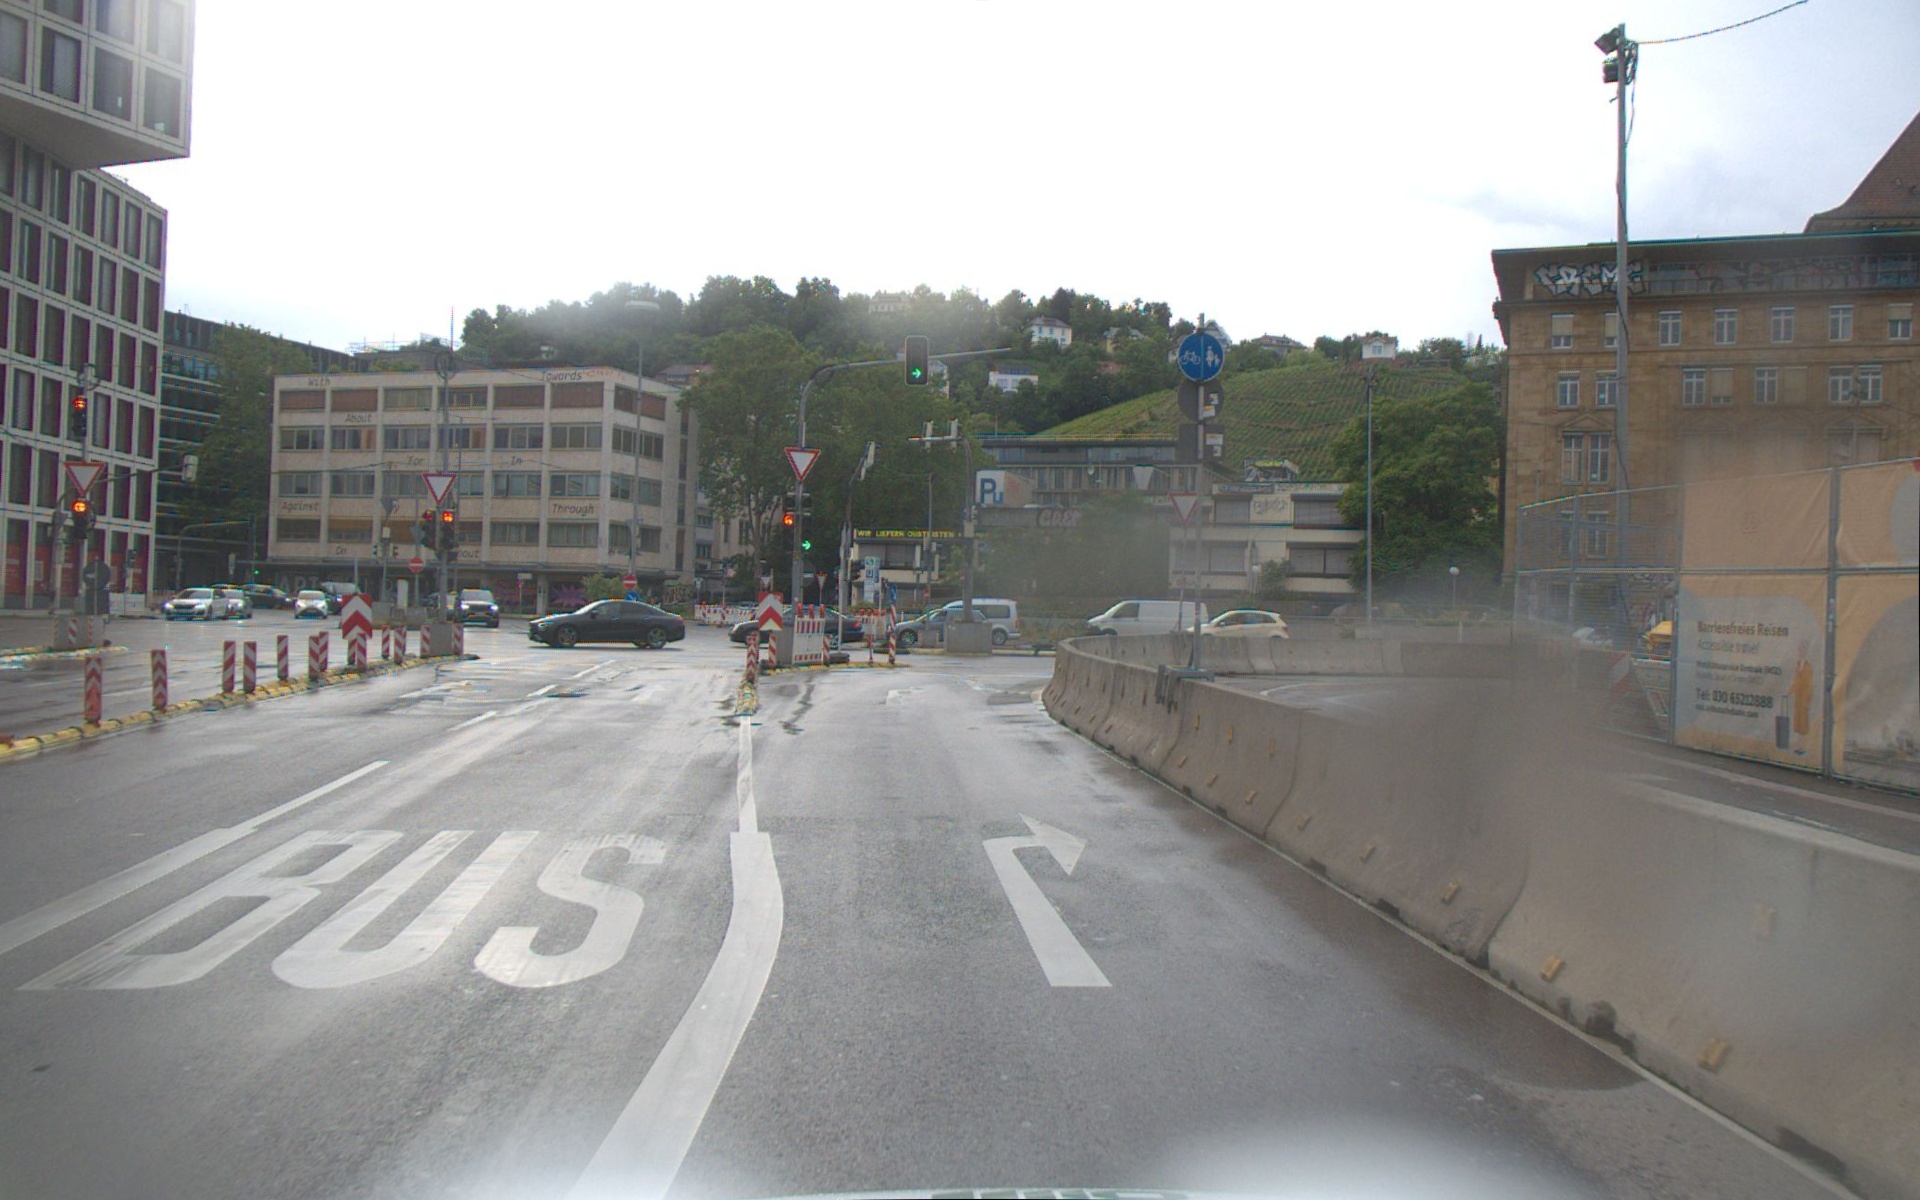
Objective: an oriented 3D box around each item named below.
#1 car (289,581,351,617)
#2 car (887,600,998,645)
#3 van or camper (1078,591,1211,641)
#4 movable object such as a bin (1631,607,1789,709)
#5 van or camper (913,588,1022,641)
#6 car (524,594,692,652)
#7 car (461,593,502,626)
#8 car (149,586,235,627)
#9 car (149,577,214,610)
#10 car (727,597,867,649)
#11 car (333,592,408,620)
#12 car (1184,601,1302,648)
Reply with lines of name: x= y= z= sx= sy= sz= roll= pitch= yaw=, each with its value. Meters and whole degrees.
car: x=-34.236 y=-0.080 z=88.553 sx=1.763 sy=1.847 sz=3.999 roll=2 pitch=0 yaw=-1
car: x=-0.698 y=0.862 z=63.991 sx=4.089 sy=1.626 sz=1.848 roll=1 pitch=0 yaw=-8
van or camper: x=7.564 y=0.638 z=67.833 sx=5.098 sy=1.927 sz=1.884 roll=1 pitch=0 yaw=-8
movable object such as a bin: x=11.435 y=0.874 z=25.284 sx=1.850 sy=1.497 sz=1.188 roll=0 pitch=-1 yaw=-1
van or camper: x=0.290 y=0.587 z=67.215 sx=4.162 sy=2.013 sz=1.848 roll=1 pitch=0 yaw=-8
car: x=-10.509 y=0.689 z=49.407 sx=4.587 sy=1.626 sz=2.003 roll=1 pitch=0 yaw=-24
car: x=-23.369 y=0.435 z=80.869 sx=1.800 sy=1.512 sz=3.985 roll=1 pitch=0 yaw=-14
car: x=-35.619 y=0.303 z=76.828 sx=2.180 sy=1.784 sz=4.805 roll=1 pitch=0 yaw=-7
car: x=-47.139 y=-0.411 z=100.155 sx=3.917 sy=1.847 sz=1.800 roll=2 pitch=0 yaw=34
car: x=-5.491 y=0.767 z=55.595 sx=4.560 sy=1.626 sz=2.015 roll=1 pitch=0 yaw=-8
car: x=-34.584 y=0.344 z=97.009 sx=3.906 sy=1.584 sz=1.889 roll=1 pitch=-1 yaw=23
car: x=11.094 y=0.938 z=65.018 sx=4.279 sy=1.703 sz=1.847 roll=1 pitch=0 yaw=-3
